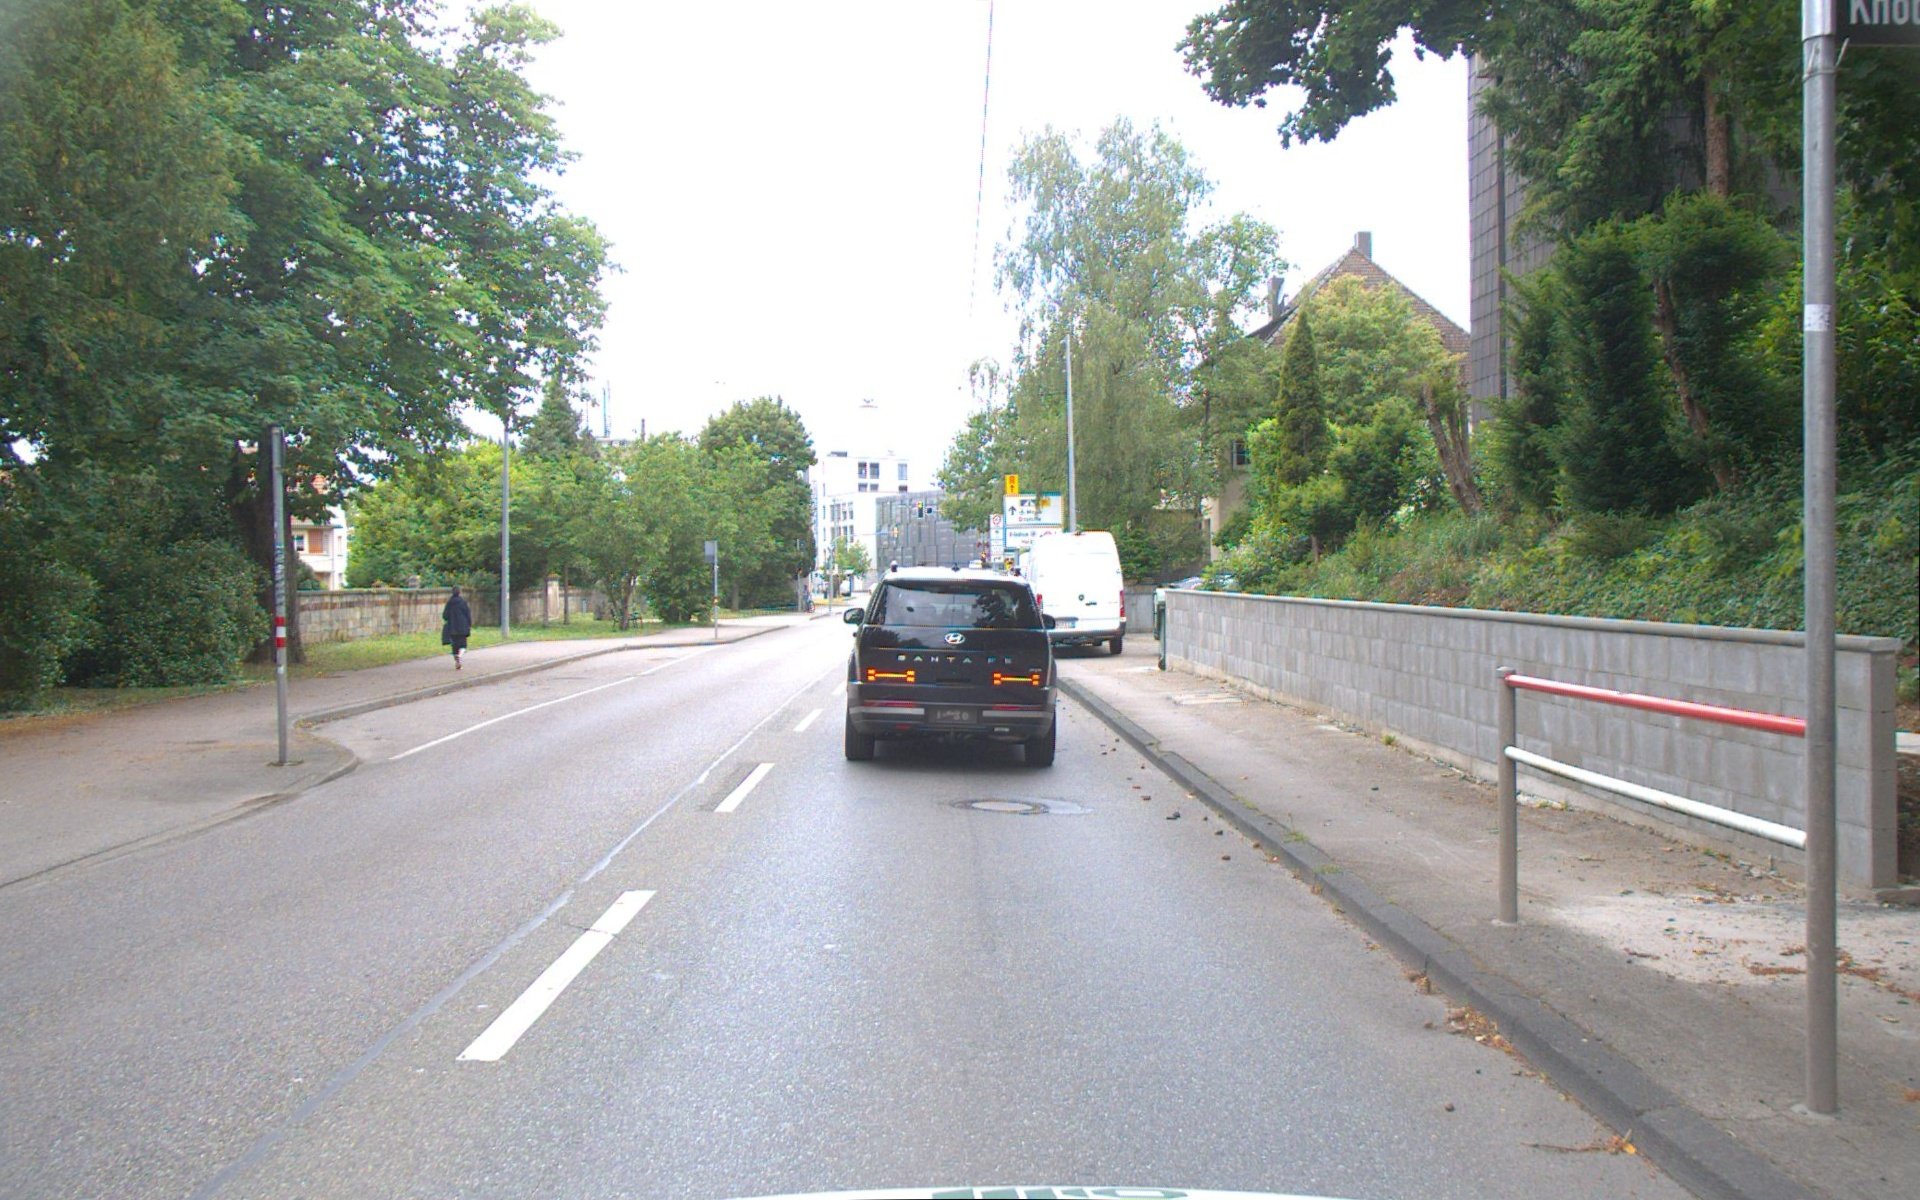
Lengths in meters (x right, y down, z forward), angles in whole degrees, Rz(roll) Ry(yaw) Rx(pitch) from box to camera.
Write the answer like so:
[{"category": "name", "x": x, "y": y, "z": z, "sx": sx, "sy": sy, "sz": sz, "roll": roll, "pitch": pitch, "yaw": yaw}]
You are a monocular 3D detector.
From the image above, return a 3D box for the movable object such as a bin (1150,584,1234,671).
[{"category": "movable object such as a bin", "x": 4.112, "y": 0.477, "z": 29.411, "sx": 1.273, "sy": 1.476, "sz": 1.180, "roll": -1, "pitch": 0, "yaw": -1}]

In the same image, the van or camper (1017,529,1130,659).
[{"category": "van or camper", "x": 2.525, "y": -0.149, "z": 38.256, "sx": 1.924, "sy": 2.673, "sz": 6.357, "roll": -2, "pitch": 0, "yaw": -1}]

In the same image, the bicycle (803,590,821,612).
[{"category": "bicycle", "x": -8.958, "y": 0.081, "z": 99.853, "sx": 0.664, "sy": 1.302, "sz": 2.491, "roll": 1, "pitch": -1, "yaw": -14}]

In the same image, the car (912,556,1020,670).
[{"category": "car", "x": 0.060, "y": 0.220, "z": 31.803, "sx": 1.924, "sy": 2.036, "sz": 3.999, "roll": 1, "pitch": 0, "yaw": -2}]

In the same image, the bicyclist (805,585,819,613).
[{"category": "bicyclist", "x": -8.957, "y": -0.066, "z": 99.885, "sx": 0.664, "sy": 1.688, "sz": 0.855, "roll": 1, "pitch": -2, "yaw": -15}]

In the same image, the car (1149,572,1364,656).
[{"category": "car", "x": 6.321, "y": 0.284, "z": 35.567, "sx": 4.303, "sy": 1.681, "sz": 1.830, "roll": -1, "pitch": 0, "yaw": 0}]

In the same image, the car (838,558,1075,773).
[{"category": "car", "x": -0.049, "y": 0.529, "z": 15.630, "sx": 1.924, "sy": 1.741, "sz": 3.999, "roll": 1, "pitch": 0, "yaw": -1}]

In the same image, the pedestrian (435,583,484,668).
[{"category": "pedestrian", "x": -9.699, "y": 0.489, "z": 32.082, "sx": 0.734, "sy": 1.605, "sz": 0.965, "roll": 1, "pitch": 0, "yaw": -7}]

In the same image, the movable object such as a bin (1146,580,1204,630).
[{"category": "movable object such as a bin", "x": 6.650, "y": 0.153, "z": 51.350, "sx": 1.422, "sy": 1.499, "sz": 1.715, "roll": 1, "pitch": 0, "yaw": -6}]
